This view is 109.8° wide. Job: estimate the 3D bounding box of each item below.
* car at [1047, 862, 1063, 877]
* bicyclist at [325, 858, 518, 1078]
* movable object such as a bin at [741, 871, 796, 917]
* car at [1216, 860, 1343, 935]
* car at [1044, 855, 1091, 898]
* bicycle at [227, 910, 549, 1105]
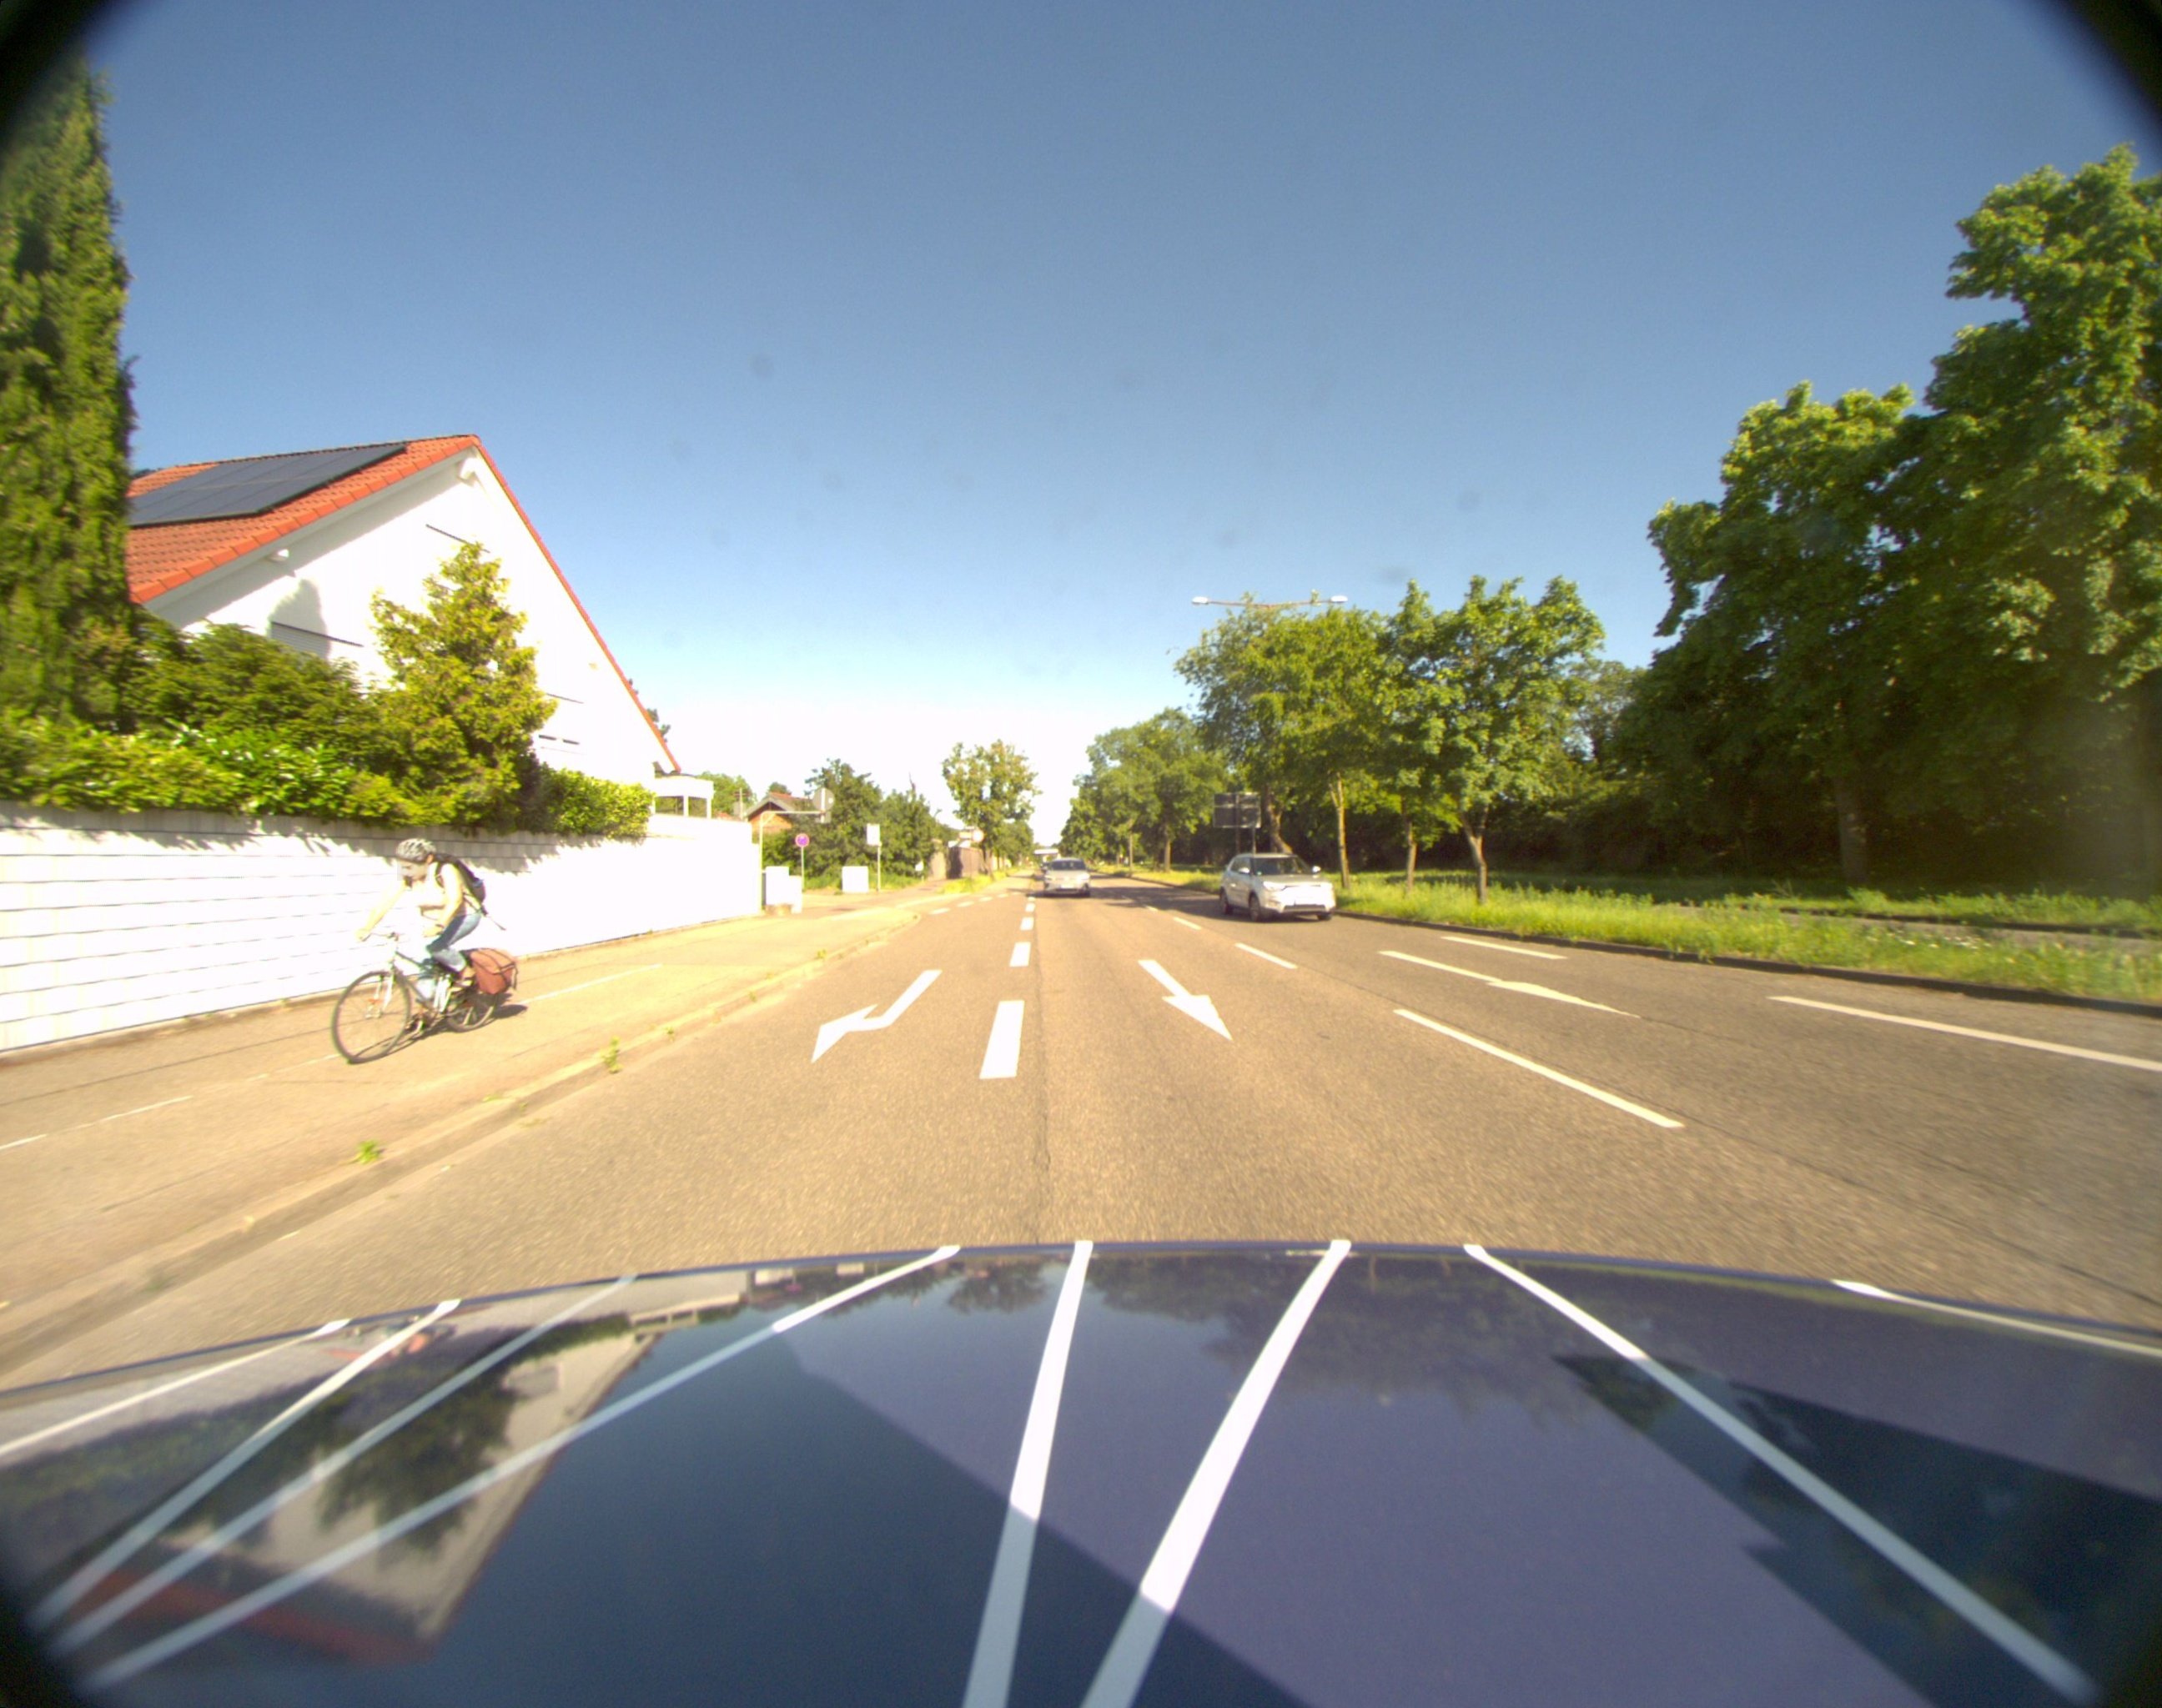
[{"bbox_3d":[-3.026,1.778,88.522,1.766,1.606,4.296,-2,0,-3],"label":"car"},{"bbox_3d":[-5.318,0.867,6.198,0.631,1.623,0.982,3,-1,0],"label":"bicyclist"},{"bbox_3d":[-8.729,1.115,21.264,1.004,1.198,1.063,2,1,4],"label":"movable object such as a bin"},{"bbox_3d":[4.668,0.956,18.533,1.789,1.600,4.104,0,0,-4],"label":"car"},{"bbox_3d":[-0.630,0.883,31.787,1.766,1.606,4.296,-2,0,-3],"label":"car"},{"bbox_3d":[-5.343,1.095,6.108,0.575,1.148,2.141,3,-1,0],"label":"bicycle"}]
